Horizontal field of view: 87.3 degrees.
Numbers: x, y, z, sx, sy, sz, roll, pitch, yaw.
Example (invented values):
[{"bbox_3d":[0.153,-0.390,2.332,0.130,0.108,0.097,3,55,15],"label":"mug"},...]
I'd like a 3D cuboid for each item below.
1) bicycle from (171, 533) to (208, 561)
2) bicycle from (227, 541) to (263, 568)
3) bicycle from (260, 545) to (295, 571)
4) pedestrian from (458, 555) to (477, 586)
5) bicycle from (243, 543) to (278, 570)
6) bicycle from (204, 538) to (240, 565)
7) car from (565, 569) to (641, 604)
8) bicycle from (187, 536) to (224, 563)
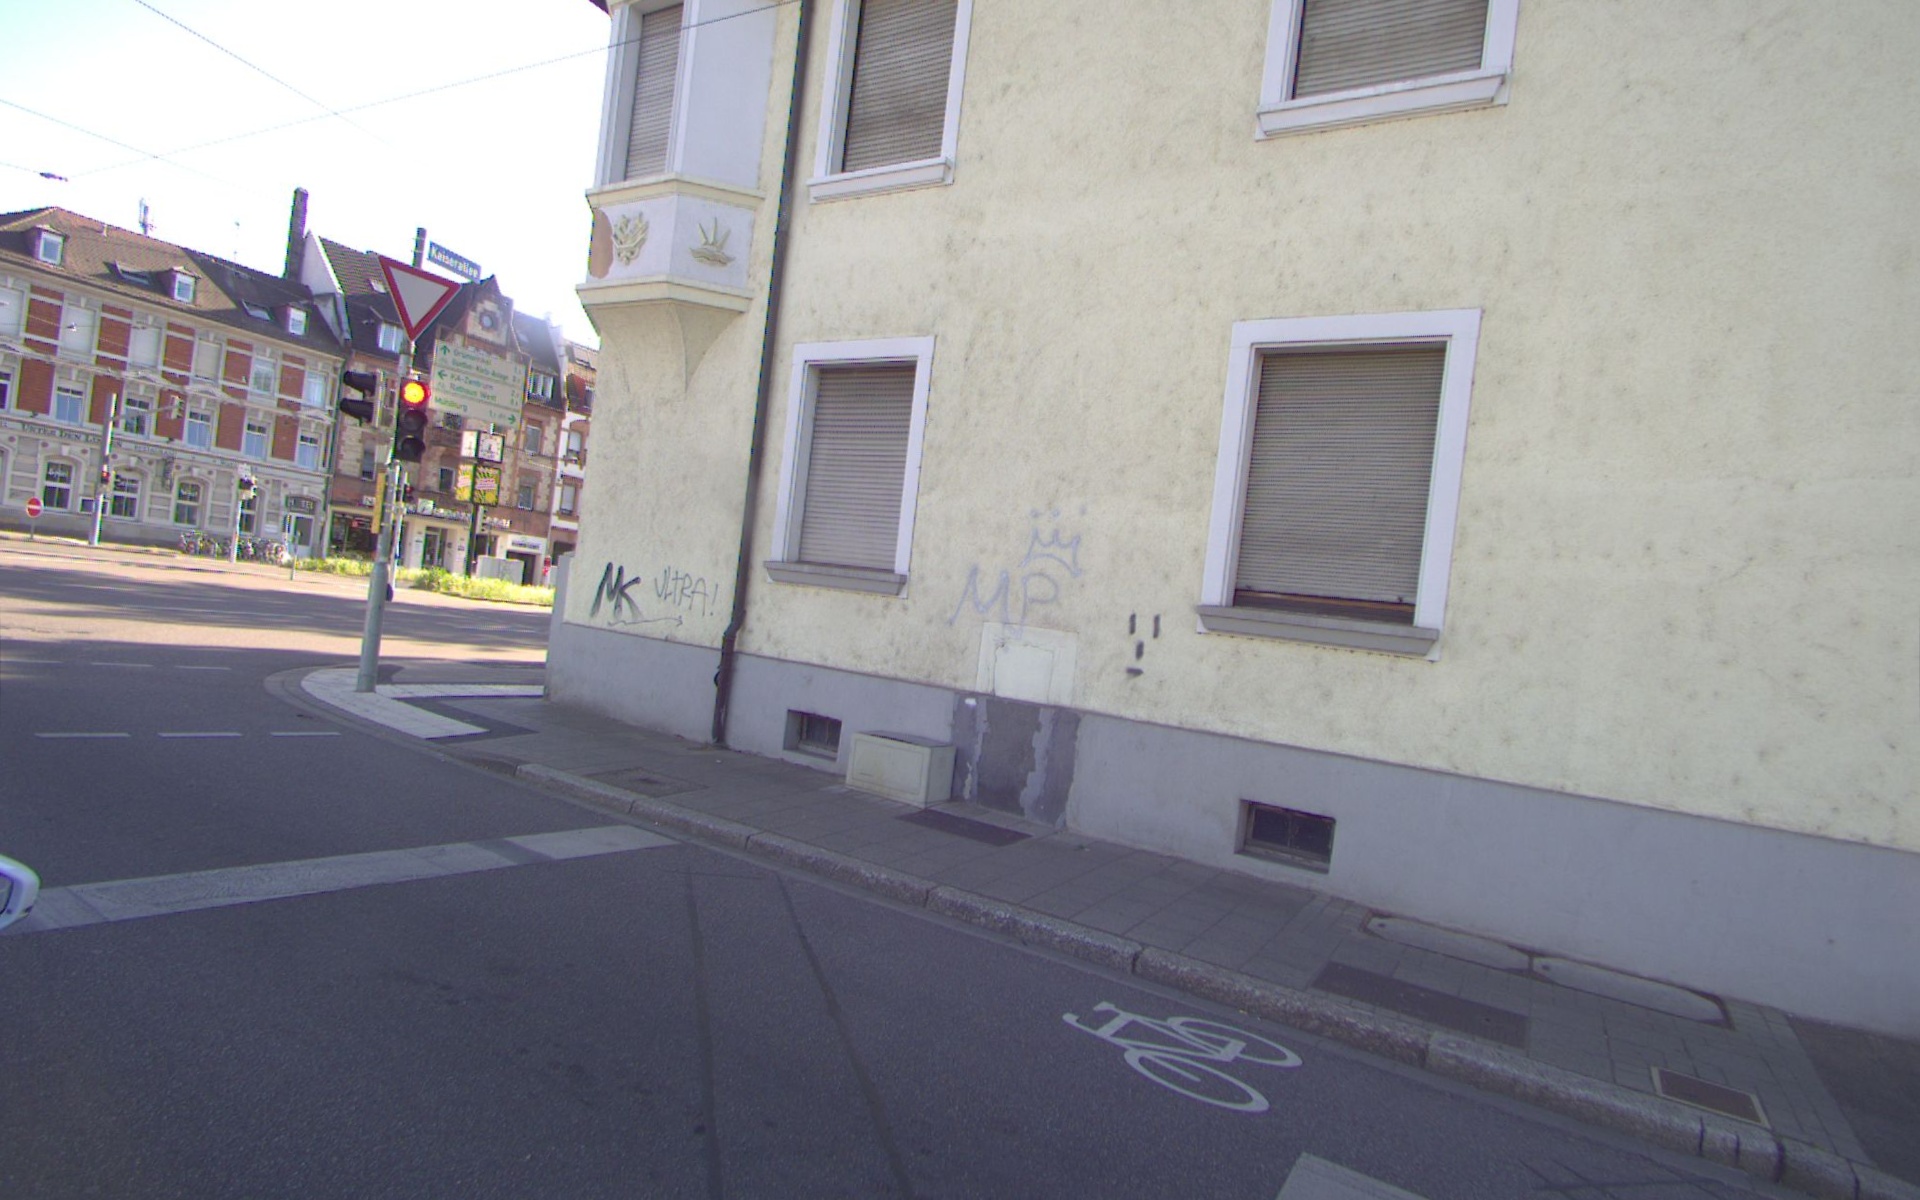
[{"bbox_3d":[-34.942,-2.391,45.611,1.614,1.064,0.606,7,0,27],"label":"bicycle"},{"bbox_3d":[-33.646,-2.151,47.339,1.614,1.064,0.606,7,0,27],"label":"bicycle"},{"bbox_3d":[-32.977,-2.013,48.587,1.614,1.064,0.606,7,0,27],"label":"bicycle"},{"bbox_3d":[-29.460,-1.745,60.161,0.414,1.773,0.709,7,0,33],"label":"pedestrian"},{"bbox_3d":[-33.351,-2.088,47.949,1.614,1.064,0.606,7,0,27],"label":"bicycle"},{"bbox_3d":[-34.312,-2.262,46.769,1.614,1.064,0.606,7,0,27],"label":"bicycle"},{"bbox_3d":[-23.120,-0.861,65.307,1.966,1.674,4.378,7,-1,29],"label":"car"},{"bbox_3d":[-34.642,-2.328,46.193,1.614,1.064,0.606,7,0,27],"label":"bicycle"}]
